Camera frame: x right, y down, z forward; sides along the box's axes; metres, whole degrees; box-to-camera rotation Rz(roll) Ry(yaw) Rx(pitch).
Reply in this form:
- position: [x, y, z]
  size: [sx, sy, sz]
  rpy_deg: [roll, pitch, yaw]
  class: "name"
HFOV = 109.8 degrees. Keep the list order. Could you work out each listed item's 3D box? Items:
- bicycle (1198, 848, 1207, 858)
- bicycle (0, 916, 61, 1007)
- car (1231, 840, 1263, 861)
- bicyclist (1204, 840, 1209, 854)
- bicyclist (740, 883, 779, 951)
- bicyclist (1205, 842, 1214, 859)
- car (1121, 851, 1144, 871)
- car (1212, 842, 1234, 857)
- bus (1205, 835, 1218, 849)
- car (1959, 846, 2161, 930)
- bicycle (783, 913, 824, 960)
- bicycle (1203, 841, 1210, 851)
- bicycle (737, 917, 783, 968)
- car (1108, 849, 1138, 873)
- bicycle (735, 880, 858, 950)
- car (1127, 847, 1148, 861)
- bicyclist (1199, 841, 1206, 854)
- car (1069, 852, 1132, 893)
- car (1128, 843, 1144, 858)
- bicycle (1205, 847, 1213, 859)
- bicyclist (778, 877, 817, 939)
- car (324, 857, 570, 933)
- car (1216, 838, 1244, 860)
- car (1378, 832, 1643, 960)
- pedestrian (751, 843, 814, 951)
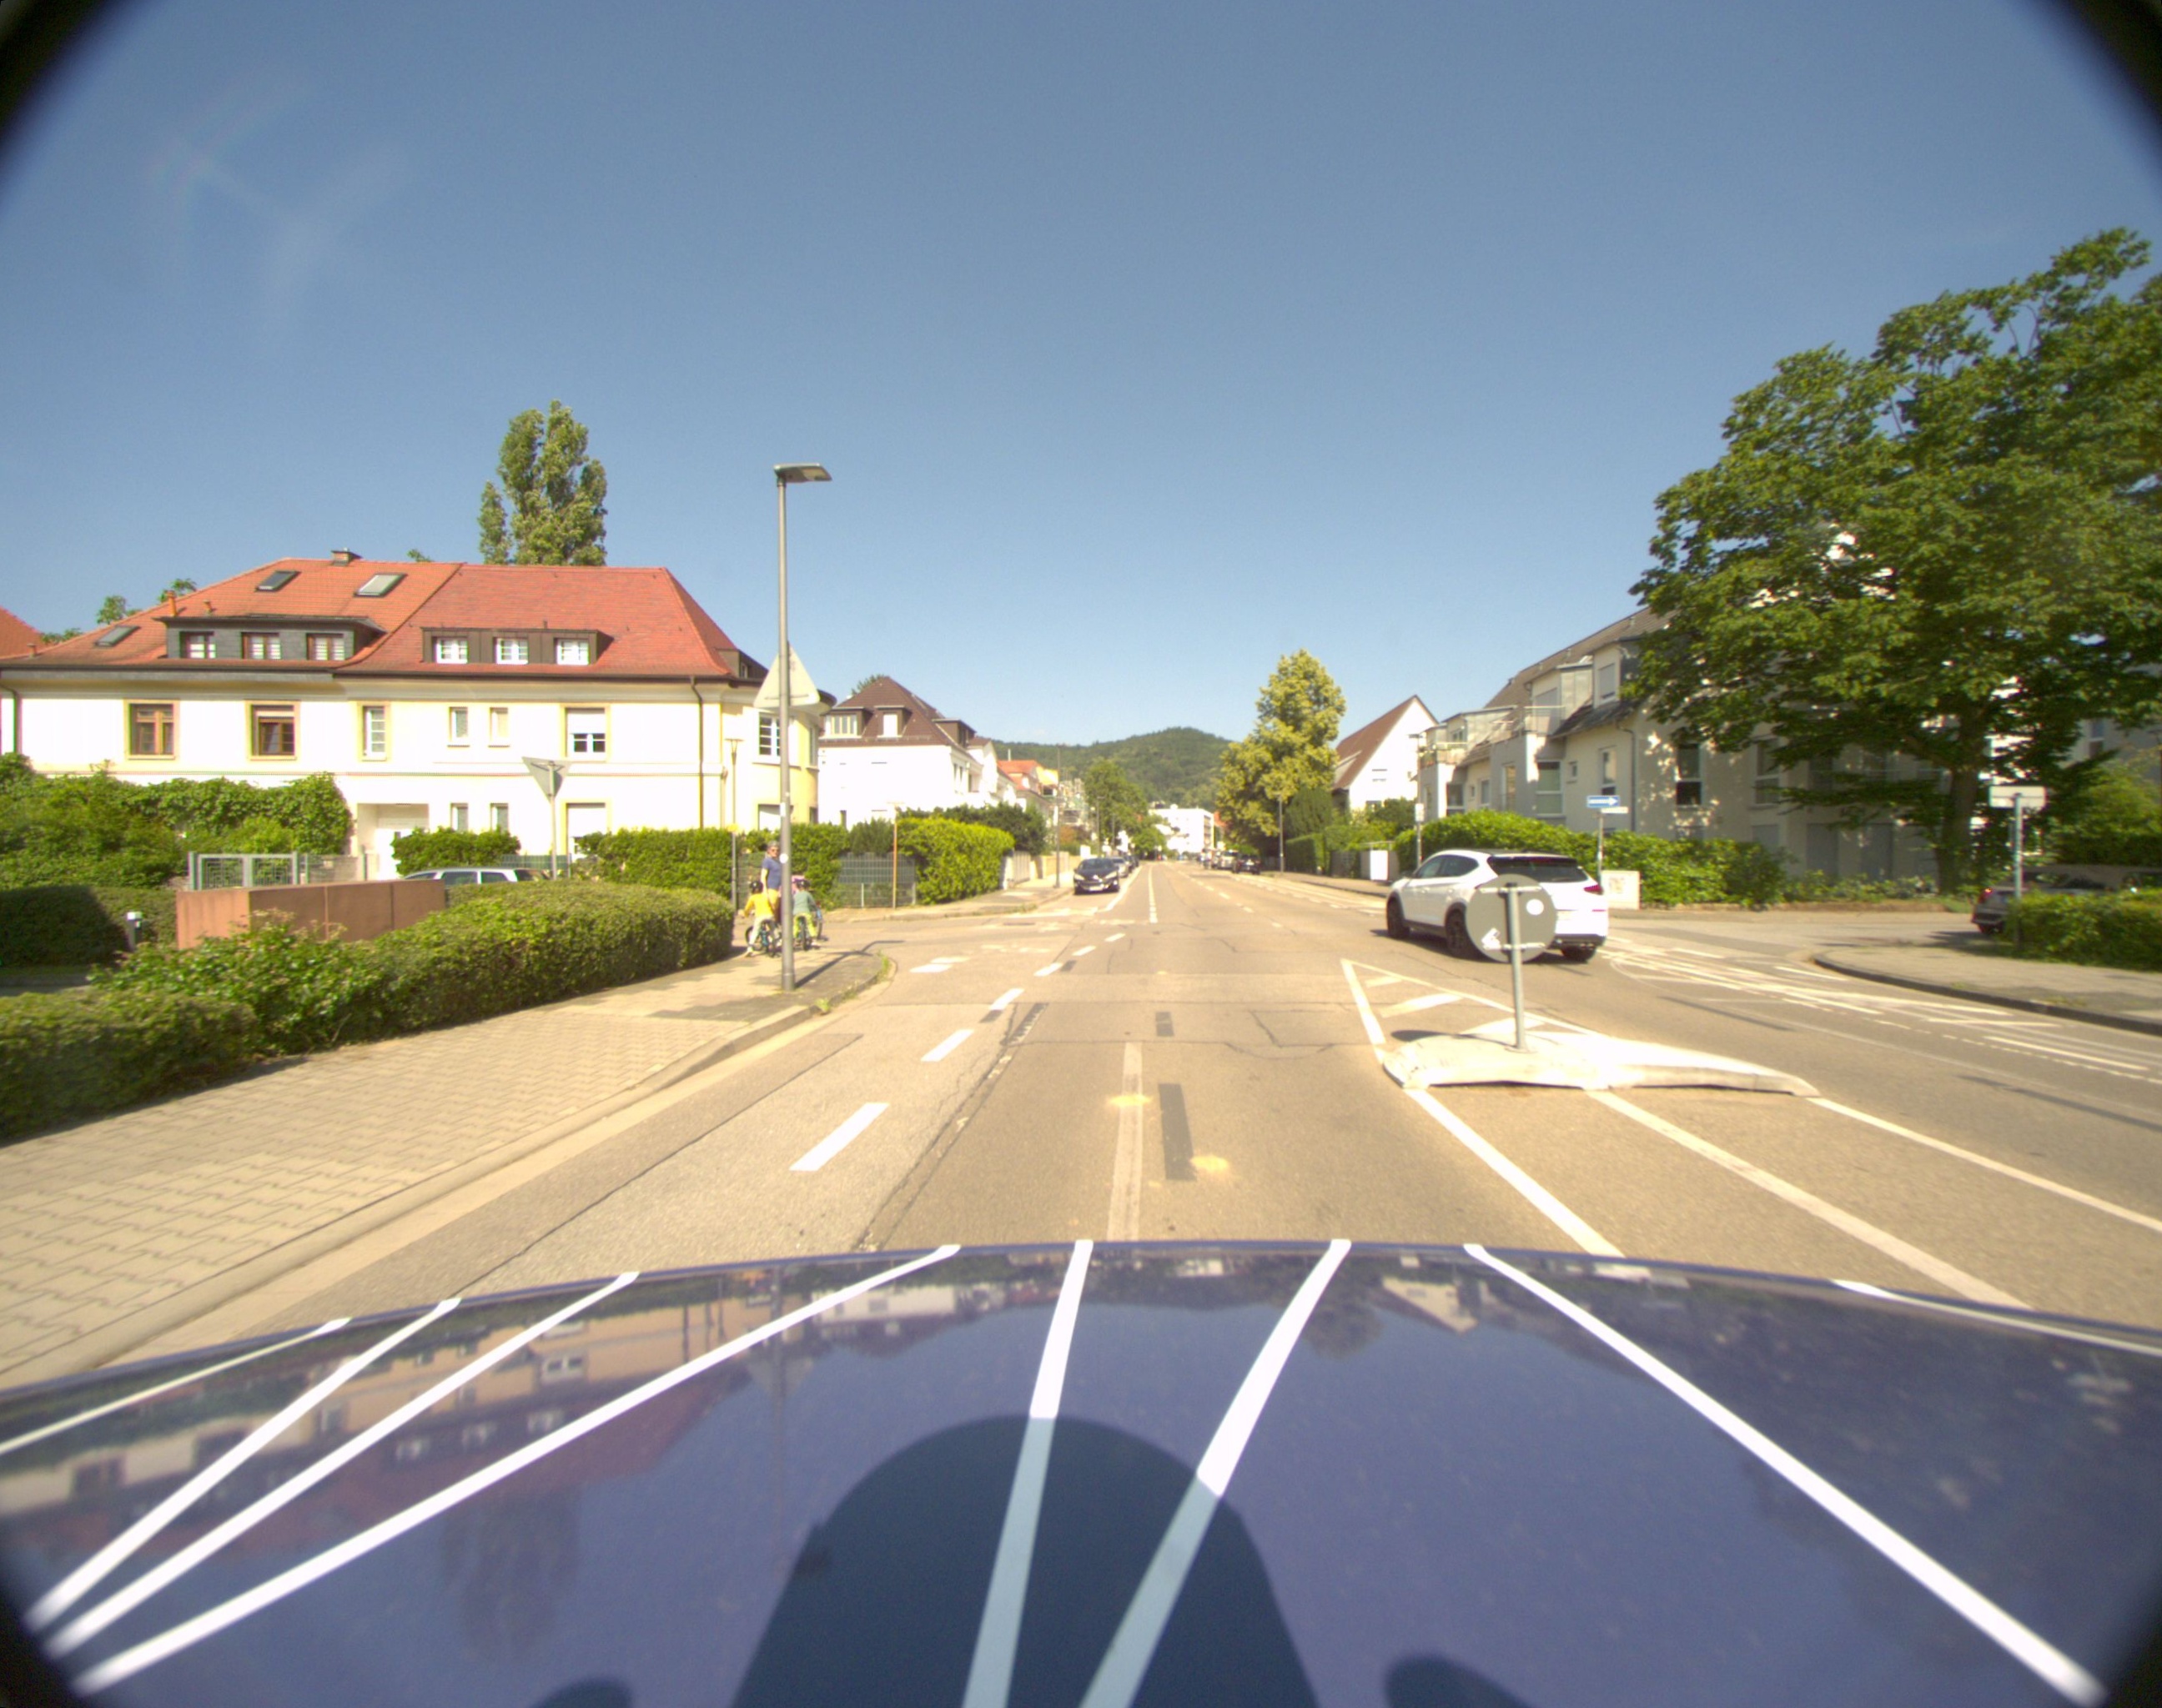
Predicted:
- position: [14.635, -0.131, 91.568]
  size: [0.784, 1.159, 2.420]
  rpy_deg: [2, 1, 6]
  class: "bicycle"
- position: [-14.467, 1.362, 9.659]
  size: [1.823, 1.089, 0.631]
  rpy_deg: [1, 0, -12]
  class: "bicycle"
- position: [13.002, -0.291, 59.739]
  size: [1.855, 1.601, 4.448]
  rpy_deg: [0, 1, 4]
  class: "car"
- position: [13.319, -0.753, 80.641]
  size: [0.491, 1.446, 0.964]
  rpy_deg: [2, 2, 5]
  class: "bicyclist"
- position: [-4.666, 0.898, 11.012]
  size: [0.400, 0.928, 0.607]
  rpy_deg: [-2, 2, -34]
  class: "bicyclist"
- position: [12.873, -0.351, 76.113]
  size: [0.677, 1.571, 0.859]
  rpy_deg: [6, 2, 5]
  class: "bicyclist"
- position: [4.200, 0.559, 62.400]
  size: [1.726, 1.441, 4.169]
  rpy_deg: [-3, 1, 4]
  class: "car"
- position: [15.476, -0.504, 83.086]
  size: [1.837, 1.477, 4.563]
  rpy_deg: [2, 1, 5]
  class: "car"
- position: [31.217, -2.760, 181.788]
  size: [2.750, 3.156, 9.784]
  rpy_deg: [2, 1, 9]
  class: "bus"
- position: [18.886, 0.589, 13.896]
  size: [3.500, 1.404, 1.727]
  rpy_deg: [-1, 1, 4]
  class: "car"
- position: [-4.388, 1.287, 11.980]
  size: [0.403, 0.596, 1.170]
  rpy_deg: [-1, 1, -30]
  class: "bicycle"
- position: [13.332, -0.860, 80.638]
  size: [0.602, 1.099, 1.346]
  rpy_deg: [2, 2, 6]
  class: "bicycle"
- position: [-4.728, 1.278, 11.168]
  size: [0.403, 0.596, 1.148]
  rpy_deg: [-1, 1, -34]
  class: "bicycle"
- position: [2.779, 0.432, 49.642]
  size: [1.740, 1.321, 4.076]
  rpy_deg: [-3, 2, 5]
  class: "car"
- position: [-5.503, 1.118, 14.592]
  size: [2.704, 1.152, 0.865]
  rpy_deg: [0, 2, 37]
  class: "bicycle"
- position: [5.865, 0.016, 78.464]
  size: [1.622, 1.441, 4.003]
  rpy_deg: [0, 0, 11]
  class: "car"
- position: [14.599, -0.778, 91.403]
  size: [0.750, 1.658, 1.022]
  rpy_deg: [0, 1, 6]
  class: "bicyclist"
- position: [0.884, 0.722, 31.211]
  size: [1.739, 1.460, 4.349]
  rpy_deg: [-2, 0, 12]
  class: "car"
- position: [6.600, -0.450, 91.502]
  size: [1.700, 1.573, 4.901]
  rpy_deg: [-3, 1, 3]
  class: "car"
- position: [12.828, -0.080, 76.149]
  size: [0.560, 1.178, 2.036]
  rpy_deg: [-1, 1, 5]
  class: "bicycle"
- position: [-4.477, 0.842, 12.008]
  size: [0.402, 0.924, 0.657]
  rpy_deg: [-1, 1, -6]
  class: "bicyclist"
- position: [-14.479, 0.901, 17.556]
  size: [3.998, 1.559, 1.810]
  rpy_deg: [-1, 1, -4]
  class: "car"
- position: [14.285, -0.492, 72.978]
  size: [1.889, 1.909, 4.868]
  rpy_deg: [2, 1, 3]
  class: "car"
- position: [6.530, 0.509, 12.270]
  size: [1.919, 1.657, 4.506]
  rpy_deg: [1, 1, 3]
  class: "car"
- position: [-5.476, 0.743, 13.896]
  size: [0.903, 1.862, 1.186]
  rpy_deg: [-2, 2, -28]
  class: "pedestrian"
